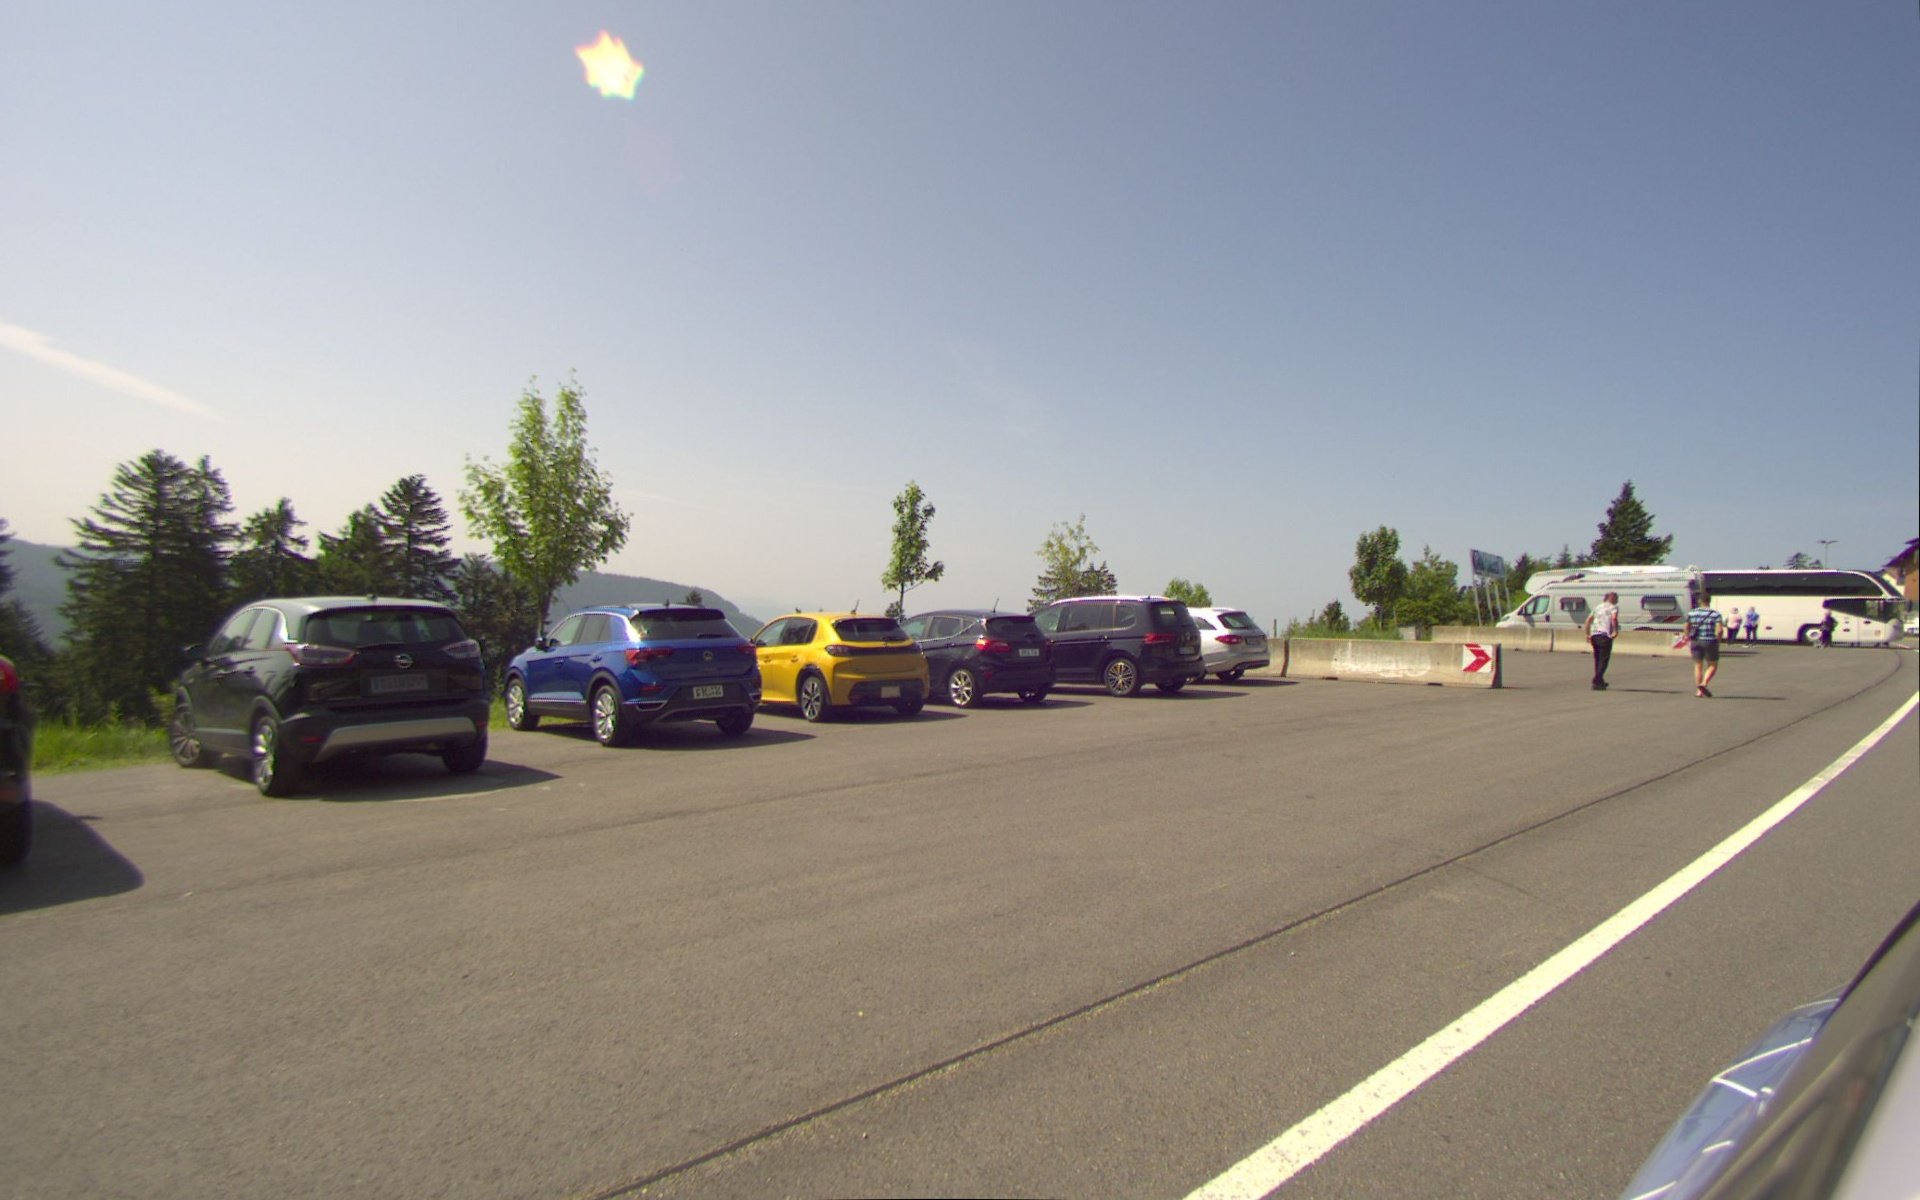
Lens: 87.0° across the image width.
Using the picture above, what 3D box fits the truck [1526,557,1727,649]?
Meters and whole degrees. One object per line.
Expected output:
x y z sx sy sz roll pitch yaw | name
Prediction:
25.314 0.058 38.629 6.064 3.236 2.492 2 0 44 | truck

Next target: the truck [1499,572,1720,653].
23.084 0.366 36.214 2.301 2.623 6.266 2 0 -44 | truck

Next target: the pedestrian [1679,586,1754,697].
12.598 0.670 16.861 0.760 1.782 0.757 1 0 -31 | pedestrian

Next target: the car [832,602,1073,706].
-0.239 0.839 16.400 1.732 1.455 4.002 0 -2 -40 | car

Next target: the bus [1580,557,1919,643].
37.165 -0.103 48.053 2.791 3.622 12.860 1 0 -43 | bus

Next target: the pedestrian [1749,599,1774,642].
33.768 0.847 42.642 0.615 1.780 0.632 1 0 -31 | pedestrian

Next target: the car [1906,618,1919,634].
99.132 2.714 103.280 1.680 1.612 3.341 2 0 -12 | car

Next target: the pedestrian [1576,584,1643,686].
11.635 0.613 18.122 0.876 1.763 0.667 1 0 -31 | pedestrian

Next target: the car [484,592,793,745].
-4.010 0.742 12.297 3.985 1.556 1.778 0 -4 43 | car

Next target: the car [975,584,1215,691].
2.267 0.635 17.730 3.984 1.668 1.576 -2 -2 43 | car

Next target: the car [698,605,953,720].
-2.074 0.785 14.654 1.950 1.370 3.997 0 0 -37 | car

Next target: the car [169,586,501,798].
-5.925 0.681 9.435 3.747 1.587 1.577 0 0 41 | car

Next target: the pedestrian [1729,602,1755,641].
33.505 0.920 43.360 0.615 1.672 0.633 1 0 -21 | pedestrian

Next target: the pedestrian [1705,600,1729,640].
33.123 0.862 44.282 0.615 1.719 0.632 1 0 -31 | pedestrian

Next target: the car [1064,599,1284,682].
4.202 0.792 20.231 3.986 1.495 1.745 -2 -2 44 | car

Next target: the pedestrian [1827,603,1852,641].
37.255 0.945 42.866 0.615 1.587 0.632 1 0 -31 | pedestrian

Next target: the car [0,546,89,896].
-6.983 0.589 6.234 4.261 1.817 1.863 0 -2 42 | car
